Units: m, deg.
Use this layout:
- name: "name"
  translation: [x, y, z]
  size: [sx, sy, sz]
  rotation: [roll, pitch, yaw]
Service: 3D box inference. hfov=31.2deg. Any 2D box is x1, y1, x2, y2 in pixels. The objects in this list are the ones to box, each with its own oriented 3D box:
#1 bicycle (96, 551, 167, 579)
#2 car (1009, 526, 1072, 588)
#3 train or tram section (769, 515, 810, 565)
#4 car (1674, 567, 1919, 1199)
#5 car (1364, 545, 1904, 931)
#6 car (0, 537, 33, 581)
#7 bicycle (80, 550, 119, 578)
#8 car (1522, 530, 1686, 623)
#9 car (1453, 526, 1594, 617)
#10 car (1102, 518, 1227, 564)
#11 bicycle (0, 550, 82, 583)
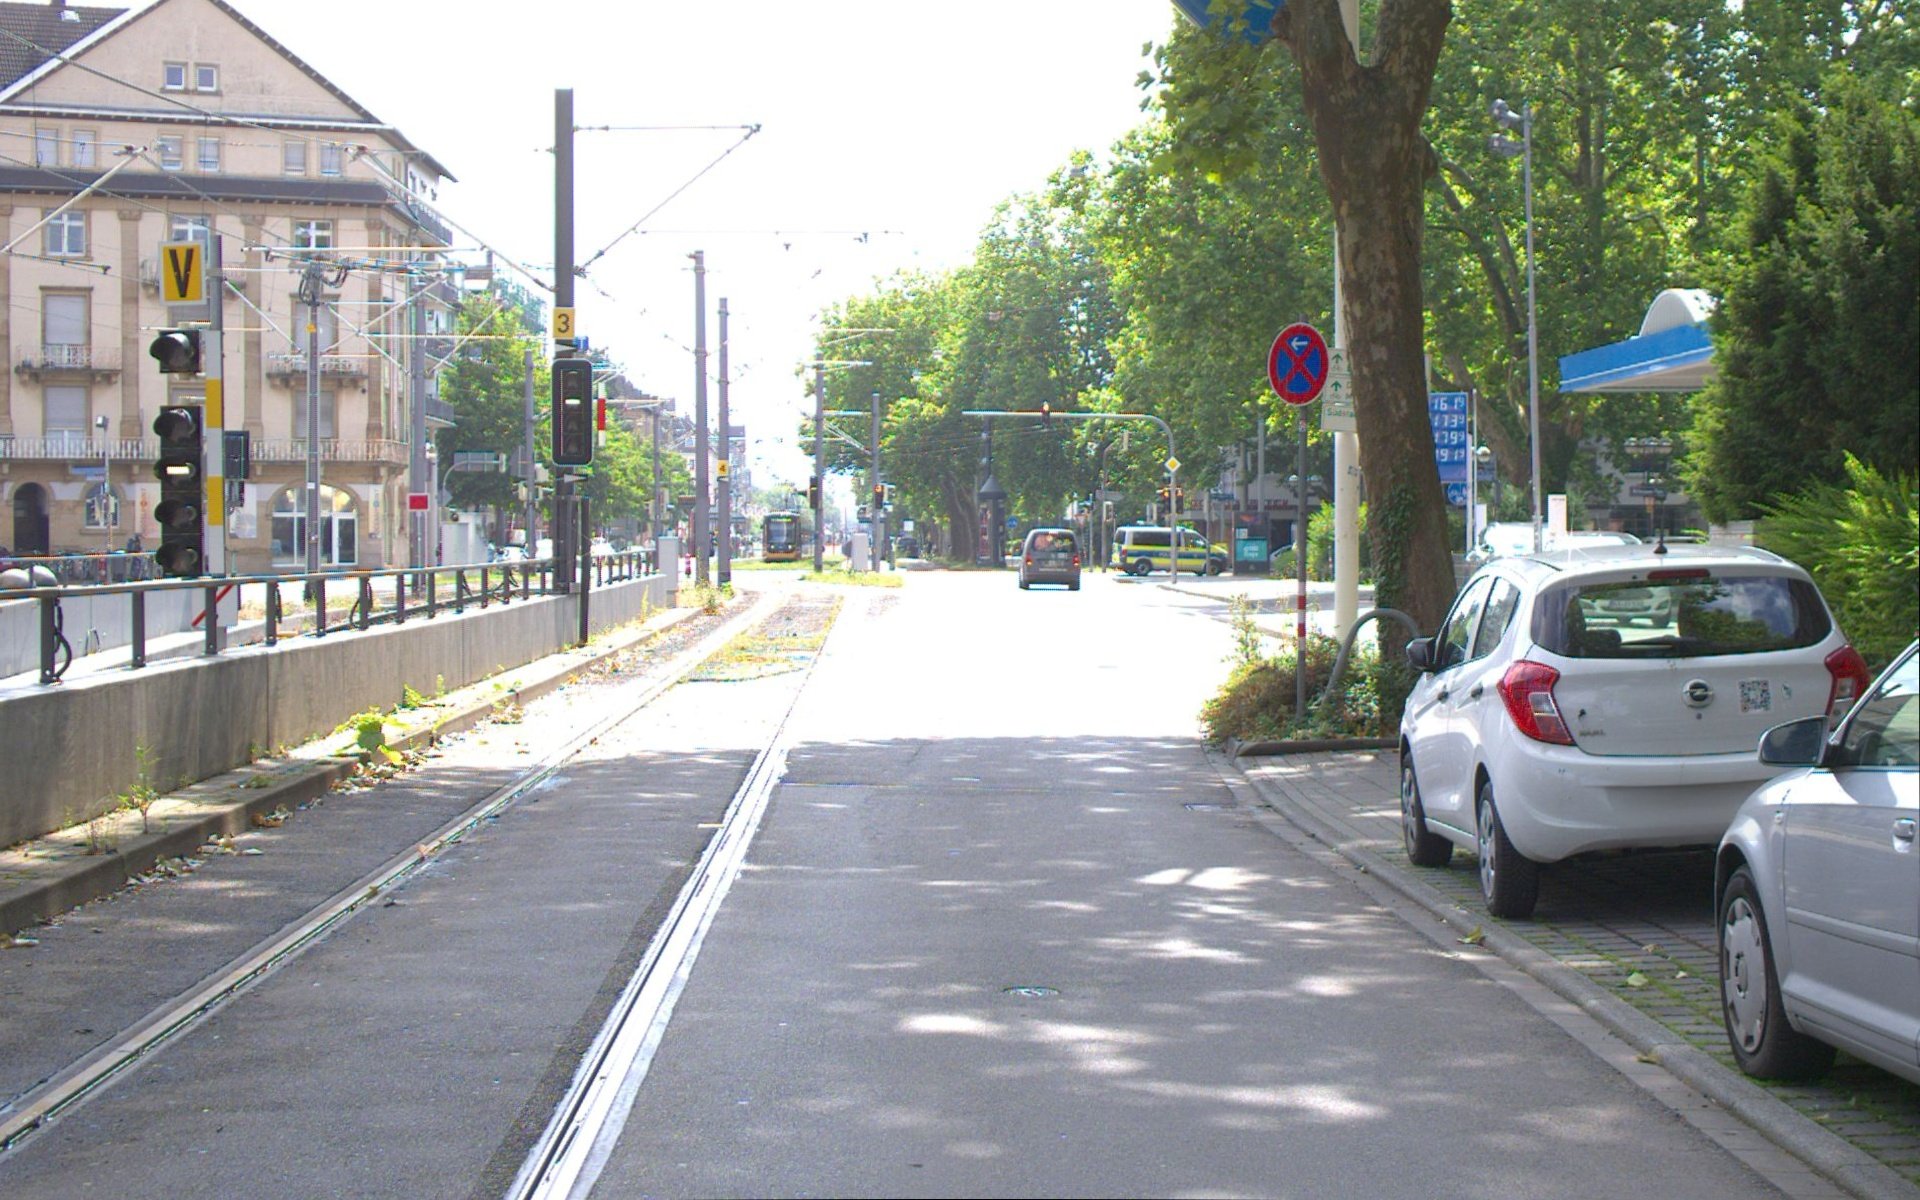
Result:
- name: "bicycle"
  translation: [-31.967, -1.366, 132.622]
  size: [2.557, 1.049, 0.682]
  rotation: [-1, 1, -28]
- name: "car"
  translation: [2.436, -1.321, 104.223]
  size: [1.750, 1.802, 3.475]
  rotation: [1, 1, -1]
- name: "train or tram section"
  translation: [-11.538, -4.092, 233.415]
  size: [2.240, 3.320, 12.972]
  rotation: [0, 1, -1]
- name: "car"
  translation: [3.005, 0.655, 8.290]
  size: [1.677, 1.439, 3.859]
  rotation: [0, 1, -1]
- name: "car"
  translation: [2.846, 0.505, 15.284]
  size: [1.553, 1.480, 3.859]
  rotation: [0, 1, -1]
- name: "car"
  translation: [-37.395, -1.568, 130.618]
  size: [3.994, 1.668, 1.996]
  rotation: [1, 1, 32]
- name: "bicycle"
  translation: [-33.498, -1.413, 133.751]
  size: [0.803, 1.049, 2.566]
  rotation: [-1, 1, -30]
- name: "car"
  translation: [10.450, -0.403, 56.045]
  size: [1.805, 1.450, 4.002]
  rotation: [1, 1, -1]
- name: "car"
  translation: [10.291, -0.554, 63.079]
  size: [1.806, 1.597, 4.583]
  rotation: [1, 1, 0]
- name: "car"
  translation: [8.379, -2.431, 141.143]
  size: [4.734, 1.853, 2.001]
  rotation: [-1, 1, -13]
- name: "bicycle"
  translation: [-35.380, -1.295, 131.711]
  size: [3.312, 1.249, 0.998]
  rotation: [0, 1, 16]
